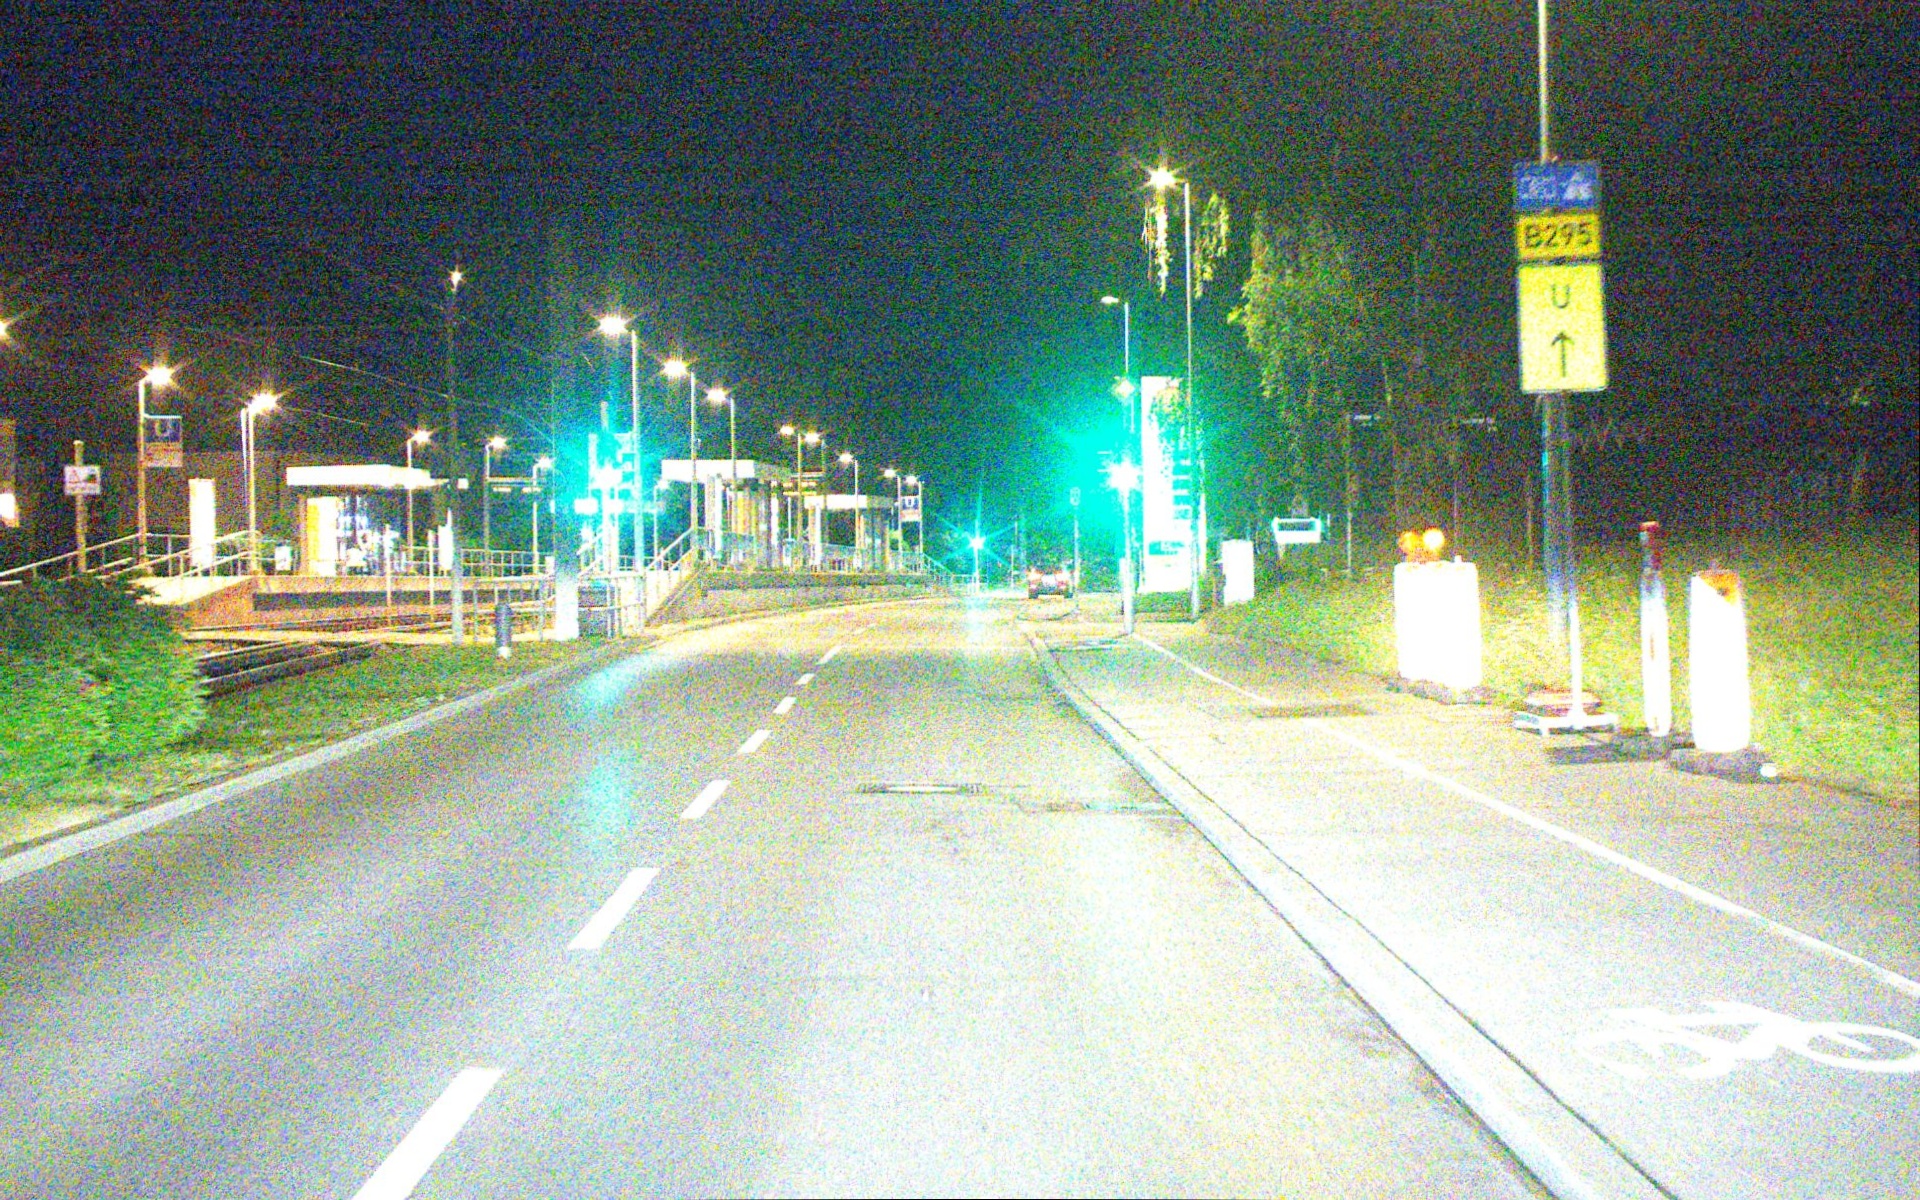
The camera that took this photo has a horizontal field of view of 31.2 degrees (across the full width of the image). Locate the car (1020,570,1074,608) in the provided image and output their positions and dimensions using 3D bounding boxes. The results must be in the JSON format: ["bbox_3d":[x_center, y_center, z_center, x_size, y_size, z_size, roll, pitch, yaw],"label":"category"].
[{"bbox_3d":[3.894,-0.489,153.458,2.162,1.577,4.013,2,0,4],"label":"car"}]
